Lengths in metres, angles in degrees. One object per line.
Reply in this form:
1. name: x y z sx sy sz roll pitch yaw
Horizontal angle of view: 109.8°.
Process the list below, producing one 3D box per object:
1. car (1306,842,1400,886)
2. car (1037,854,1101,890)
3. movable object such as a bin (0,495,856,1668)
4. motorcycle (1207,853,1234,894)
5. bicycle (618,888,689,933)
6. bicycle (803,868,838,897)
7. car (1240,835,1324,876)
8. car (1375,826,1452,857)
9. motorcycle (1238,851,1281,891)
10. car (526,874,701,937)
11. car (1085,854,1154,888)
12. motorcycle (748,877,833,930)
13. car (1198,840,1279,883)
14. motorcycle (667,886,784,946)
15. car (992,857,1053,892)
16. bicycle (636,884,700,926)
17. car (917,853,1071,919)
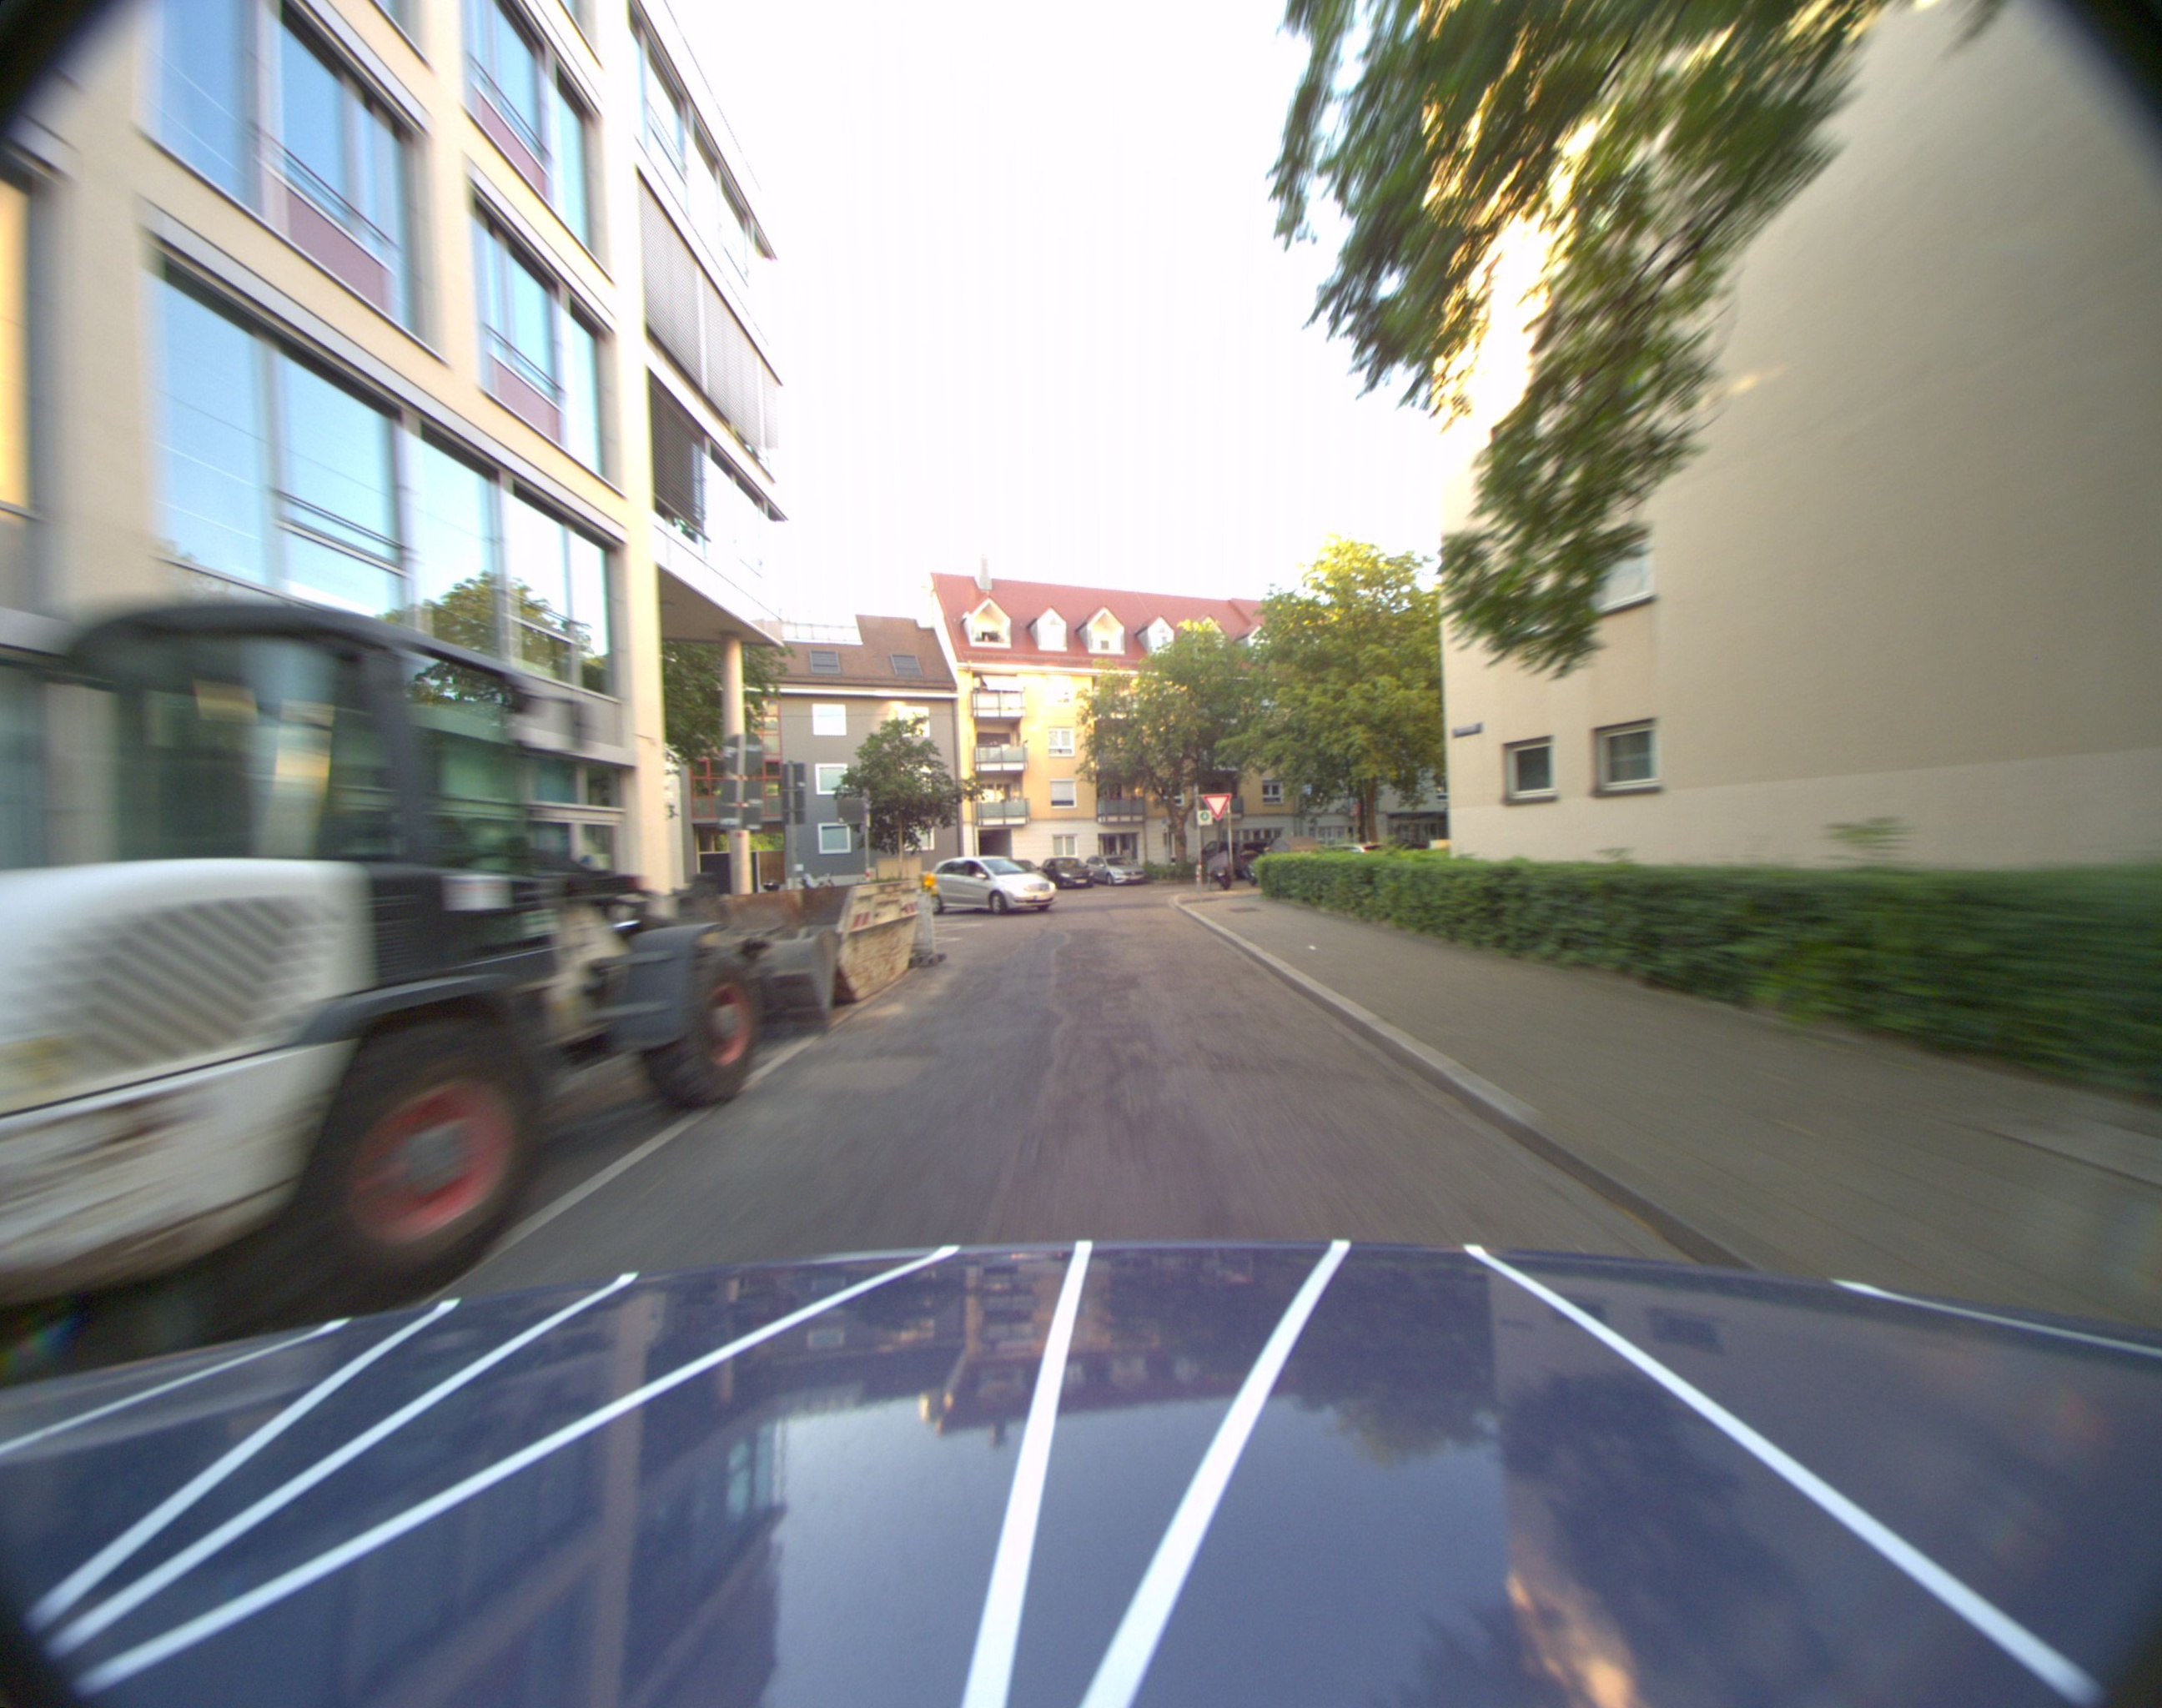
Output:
1. car: 10.257 0.371 28.898 1.634 1.498 3.496 -3 0 -15
2. car: -0.655 0.829 37.166 1.749 1.494 4.238 -2 2 -21
3. movable object such as a bin: -3.354 0.517 4.372 2.021 2.608 5.751 -5 0 2
4. motorcycle: 4.971 0.673 27.005 0.858 1.345 1.960 -2 0 10
5. bicycle: -11.098 1.453 19.755 1.533 1.034 0.375 -3 0 -23
6. bicycle: -11.792 1.268 34.404 1.460 1.202 0.611 -3 2 -21
7. car: 10.728 0.015 40.868 2.231 2.065 4.320 -2 2 -21
8. car: 19.757 -0.754 45.354 2.001 1.718 3.992 -3 2 -19
9. motorcycle: 6.519 0.608 27.799 0.572 1.398 1.968 -3 1 -17
10. car: -14.782 1.591 24.337 4.396 1.686 1.997 -2 1 -18
11. car: 1.846 0.793 38.127 1.829 1.460 4.320 -2 2 -21
12. motorcycle: -8.218 1.400 21.488 2.203 1.387 0.802 -3 -1 21
13. car: 8.259 0.328 40.333 2.231 2.065 4.320 -2 2 -21
14. motorcycle: -7.930 1.362 17.005 2.254 1.117 0.640 -3 1 -31
15. car: -2.878 0.932 36.332 1.749 1.395 4.238 -2 2 -21
16. bicycle: -11.812 1.446 21.757 1.533 1.059 0.375 -3 1 -23
17. car: -2.509 0.870 21.239 4.261 1.608 1.809 -2 1 41
